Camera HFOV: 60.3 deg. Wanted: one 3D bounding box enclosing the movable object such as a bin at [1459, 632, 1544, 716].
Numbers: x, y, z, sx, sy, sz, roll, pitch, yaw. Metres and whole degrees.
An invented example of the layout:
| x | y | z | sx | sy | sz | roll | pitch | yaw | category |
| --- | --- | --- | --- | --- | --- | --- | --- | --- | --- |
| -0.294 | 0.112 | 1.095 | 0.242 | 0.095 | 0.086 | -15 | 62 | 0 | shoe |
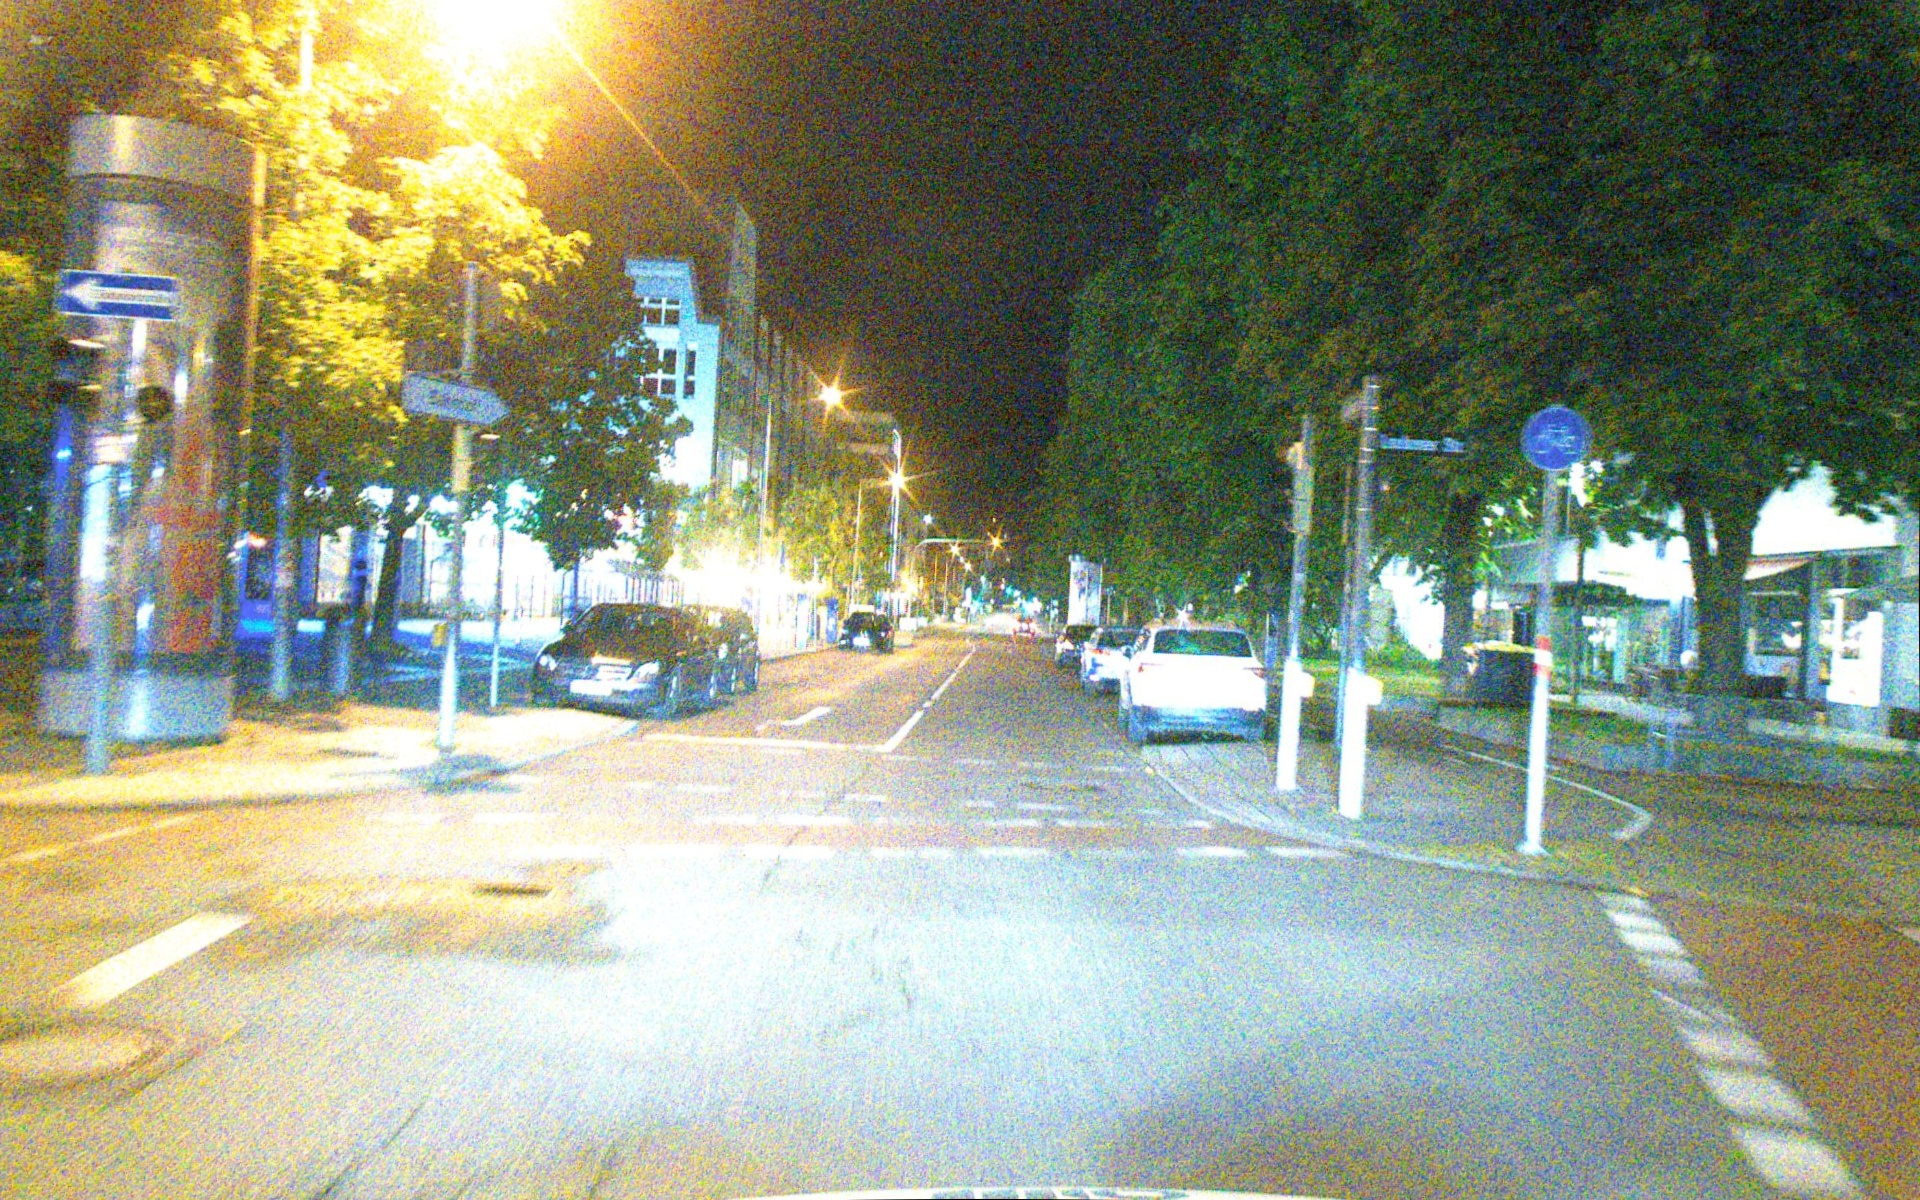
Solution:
| x | y | z | sx | sy | sz | roll | pitch | yaw | category |
| --- | --- | --- | --- | --- | --- | --- | --- | --- | --- |
| 9.667 | 1.309 | 29.559 | 1.137 | 1.395 | 0.993 | 4 | -1 | 0 | movable object such as a bin |

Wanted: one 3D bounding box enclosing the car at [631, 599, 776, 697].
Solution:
| x | y | z | sx | sy | sz | roll | pitch | yaw | category |
| --- | --- | --- | --- | --- | --- | --- | --- | --- | --- |
| -4.425 | 0.803 | 29.101 | 1.687 | 1.453 | 3.977 | 5 | 0 | 2 | car |

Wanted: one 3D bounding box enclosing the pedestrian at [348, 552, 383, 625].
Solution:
| x | y | z | sx | sy | sz | roll | pitch | yaw | category |
| --- | --- | --- | --- | --- | --- | --- | --- | --- | --- |
| -13.751 | -0.265 | 38.266 | 0.468 | 1.665 | 0.632 | 3 | -1 | 2 | pedestrian |

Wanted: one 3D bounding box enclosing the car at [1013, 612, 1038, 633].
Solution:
| x | y | z | sx | sy | sz | roll | pitch | yaw | category |
| --- | --- | --- | --- | --- | --- | --- | --- | --- | --- |
| 5.570 | 1.935 | 140.931 | 1.952 | 1.672 | 4.001 | 2 | 0 | 1 | car |

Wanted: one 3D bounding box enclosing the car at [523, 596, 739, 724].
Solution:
| x | y | z | sx | sy | sz | roll | pitch | yaw | category |
| --- | --- | --- | --- | --- | --- | --- | --- | --- | --- |
| -4.447 | 0.763 | 23.155 | 1.770 | 1.449 | 4.922 | 5 | 0 | 2 | car |

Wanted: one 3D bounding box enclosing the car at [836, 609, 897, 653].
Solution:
| x | y | z | sx | sy | sz | roll | pitch | yaw | category |
| --- | --- | --- | --- | --- | --- | --- | --- | --- | --- |
| -3.409 | 1.102 | 60.900 | 1.705 | 1.438 | 4.496 | 4 | 0 | 2 | car |

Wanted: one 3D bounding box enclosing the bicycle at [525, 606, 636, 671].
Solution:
| x | y | z | sx | sy | sz | roll | pitch | yaw | category |
| --- | --- | --- | --- | --- | --- | --- | --- | --- | --- |
| -6.909 | 0.698 | 30.141 | 1.813 | 1.017 | 0.533 | 5 | 0 | 1 | bicycle |

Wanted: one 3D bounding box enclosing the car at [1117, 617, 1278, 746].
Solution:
| x | y | z | sx | sy | sz | roll | pitch | yaw | category |
| --- | --- | --- | --- | --- | --- | --- | --- | --- | --- |
| 3.154 | 1.030 | 22.669 | 1.733 | 1.564 | 4.217 | 1 | 0 | 2 | car |

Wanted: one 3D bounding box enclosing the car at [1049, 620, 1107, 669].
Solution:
| x | y | z | sx | sy | sz | roll | pitch | yaw | category |
| --- | --- | --- | --- | --- | --- | --- | --- | --- | --- |
| 3.866 | 1.439 | 54.893 | 1.727 | 1.439 | 4.809 | 2 | 0 | 2 | car |

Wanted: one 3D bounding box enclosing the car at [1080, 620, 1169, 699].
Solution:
| x | y | z | sx | sy | sz | roll | pitch | yaw | category |
| --- | --- | --- | --- | --- | --- | --- | --- | --- | --- |
| 3.549 | 1.249 | 36.209 | 1.654 | 1.564 | 4.016 | 1 | 0 | 2 | car |

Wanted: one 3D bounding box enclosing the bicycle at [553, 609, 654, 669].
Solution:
| x | y | z | sx | sy | sz | roll | pitch | yaw | category |
| --- | --- | --- | --- | --- | --- | --- | --- | --- | --- |
| -7.096 | 0.772 | 32.937 | 1.813 | 1.053 | 0.533 | 5 | 0 | 1 | bicycle |

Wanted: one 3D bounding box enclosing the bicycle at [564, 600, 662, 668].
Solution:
| x | y | z | sx | sy | sz | roll | pitch | yaw | category |
| --- | --- | --- | --- | --- | --- | --- | --- | --- | --- |
| -7.036 | 0.678 | 33.582 | 1.812 | 1.275 | 0.533 | 3 | -1 | 1 | bicycle |
